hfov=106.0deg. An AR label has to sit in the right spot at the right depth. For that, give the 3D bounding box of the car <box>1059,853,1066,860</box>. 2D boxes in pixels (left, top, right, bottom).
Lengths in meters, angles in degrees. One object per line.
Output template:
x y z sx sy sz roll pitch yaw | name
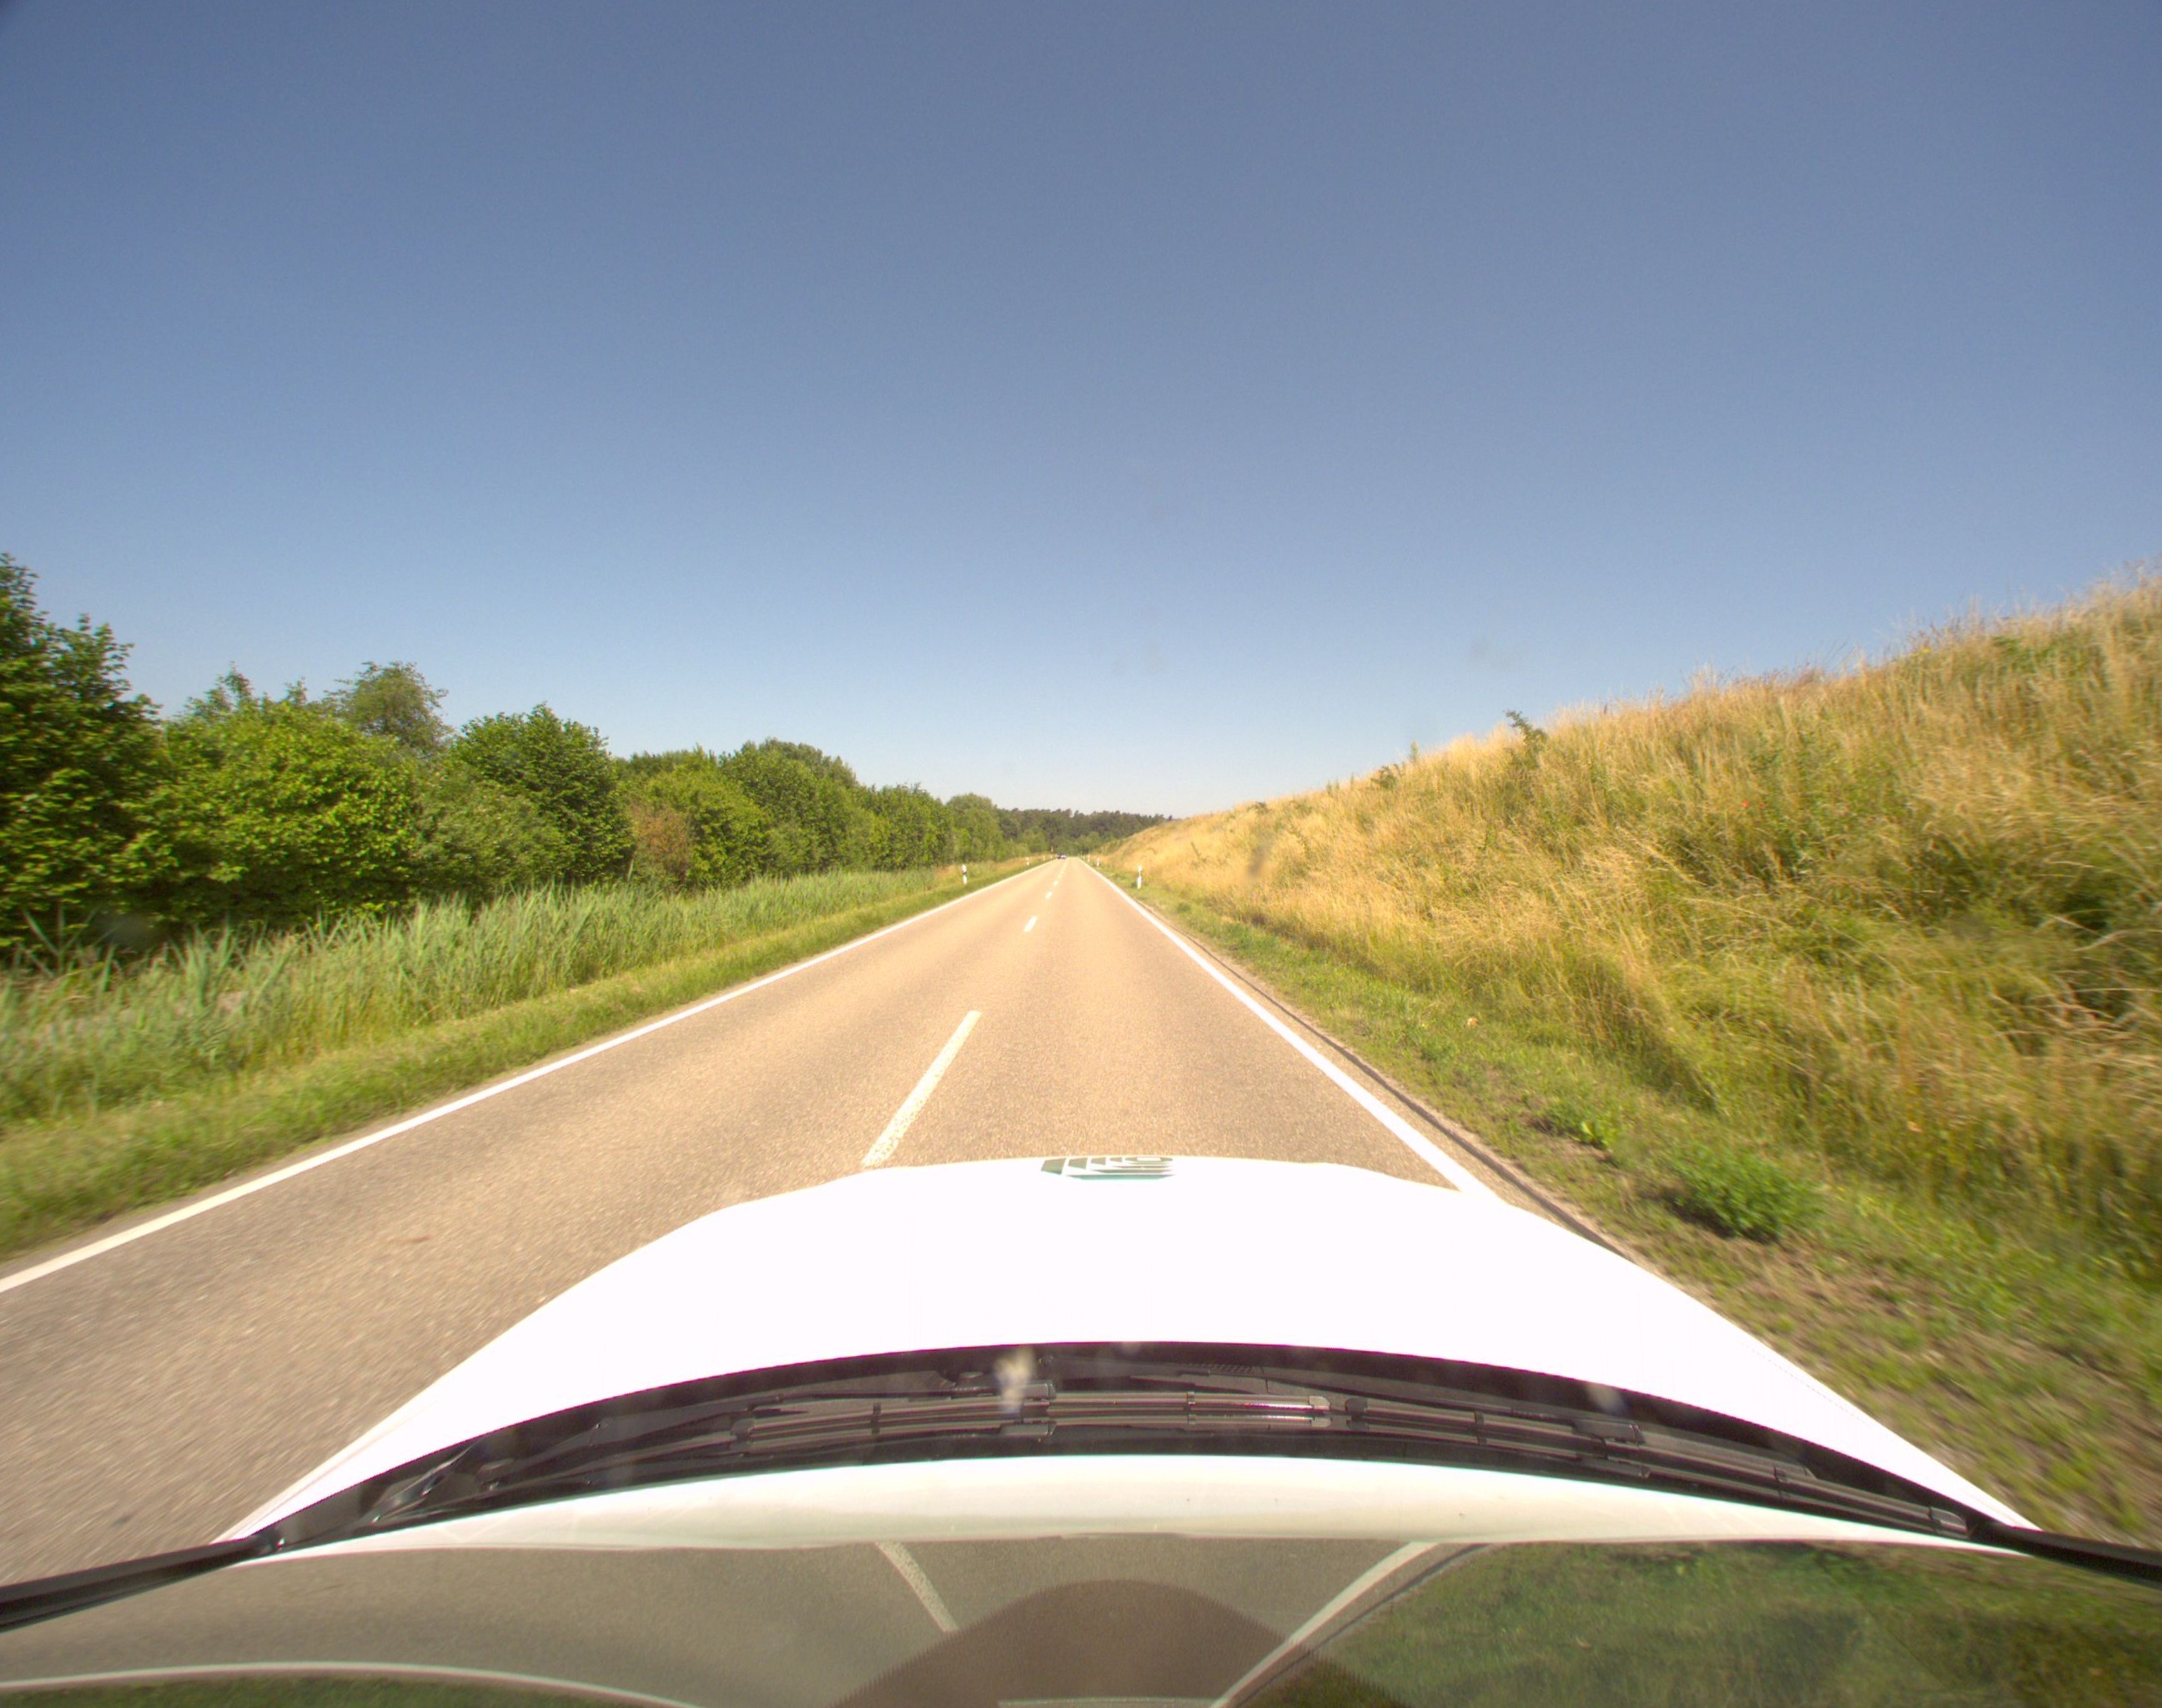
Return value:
-4.540 0.512 199.312 1.711 1.647 3.913 0 0 -1 | car

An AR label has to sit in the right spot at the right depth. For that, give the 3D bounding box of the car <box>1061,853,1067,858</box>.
-4.668 0.368 226.005 1.717 1.354 3.998 1 0 -1 | car
